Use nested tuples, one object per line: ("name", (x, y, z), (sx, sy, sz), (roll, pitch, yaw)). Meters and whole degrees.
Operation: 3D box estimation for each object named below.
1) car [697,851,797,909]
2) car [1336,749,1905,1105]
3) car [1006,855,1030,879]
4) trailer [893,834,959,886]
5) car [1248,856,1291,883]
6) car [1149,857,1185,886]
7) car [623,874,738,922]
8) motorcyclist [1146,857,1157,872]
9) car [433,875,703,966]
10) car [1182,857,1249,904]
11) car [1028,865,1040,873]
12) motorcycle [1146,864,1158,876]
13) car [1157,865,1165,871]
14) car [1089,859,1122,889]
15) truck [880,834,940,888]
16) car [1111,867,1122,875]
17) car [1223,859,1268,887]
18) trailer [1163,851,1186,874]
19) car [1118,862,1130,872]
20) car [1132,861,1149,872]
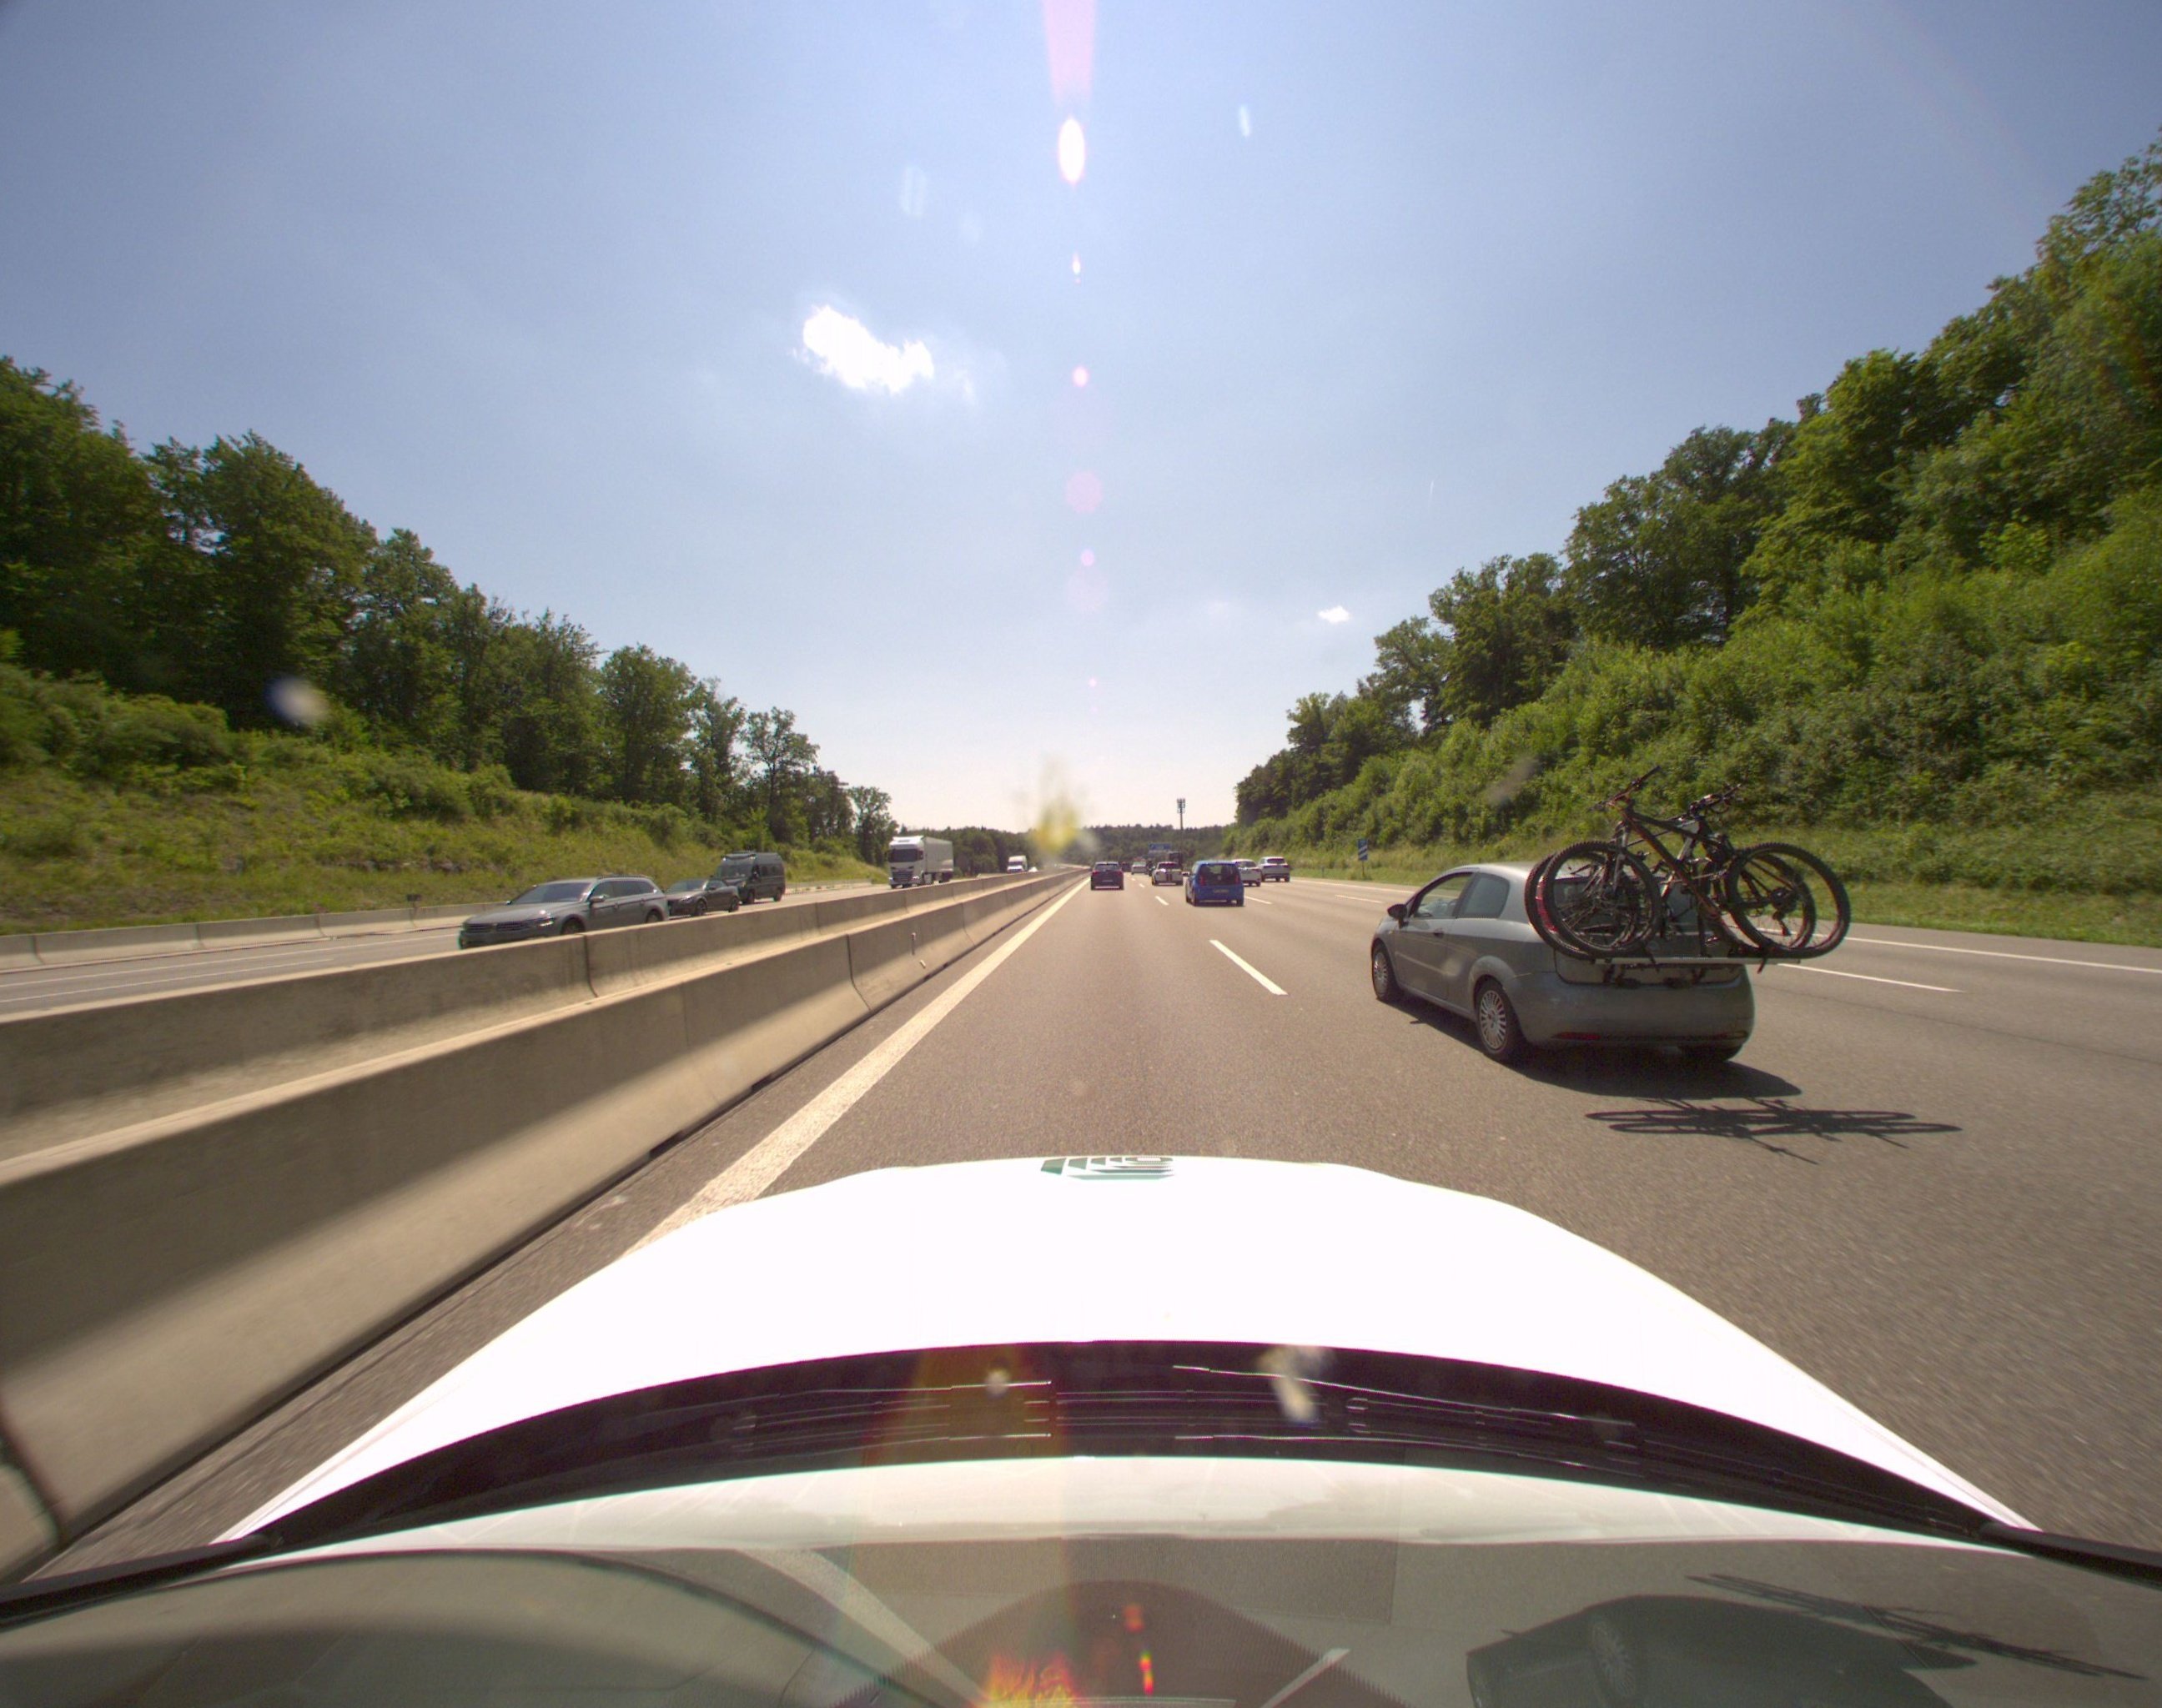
("car", (-17.175, 1.262, 42.374), (2.132, 2.663, 6.782), (-3, -1, 2))
("car", (3.885, 0.439, 7.145), (1.954, 2.053, 4.786), (-1, 0, 2))
("car", (-7.967, 1.673, 103.683), (2.078, 2.800, 7.604), (-4, -1, 1))
("trailer", (-13.594, 0.577, 72.917), (2.915, 4.084, 13.841), (-2, -1, 1))
("car", (12.526, 1.009, 54.322), (1.794, 1.731, 5.241), (0, -1, 2))
("car", (5.075, 1.068, 48.529), (1.834, 1.552, 4.001), (2, -3, 2))
("car", (-13.896, 1.484, 28.559), (1.661, 1.407, 4.441), (-2, 0, 2))
("motorcyclist", (6.851, 1.052, 79.267), (0.958, 1.438, 1.236), (-3, -1, 3))
("car", (-10.346, 1.250, 17.133), (2.019, 1.505, 5.444), (-2, -1, 2))
("car", (4.429, 0.873, 27.354), (1.730, 1.411, 4.002), (-1, -1, 2))
("car", (-9.333, 2.931, 161.954), (1.737, 1.562, 4.425), (-4, -1, 3))
("motorcycle", (6.886, 1.525, 79.379), (0.973, 1.129, 2.272), (-2, 0, 2))
("car", (20.275, 3.552, 206.165), (1.603, 1.212, 3.459), (-2, -2, 0))
("car", (1.294, 1.022, 42.577), (1.618, 1.487, 3.687), (-1, 0, 2))
("truck", (-13.711, 0.570, 65.960), (2.884, 4.069, 7.791), (-2, 0, 1))
("car", (7.913, 3.733, 181.829), (1.989, 1.684, 4.419), (0, -1, -2))
("car", (9.163, 1.030, 45.702), (1.660, 1.433, 4.376), (-2, 0, 1))
("trailer", (16.881, 1.632, 148.214), (2.847, 3.688, 13.544), (-2, -2, 1))
("car", (8.596, 2.571, 162.803), (2.089, 1.851, 4.082), (-2, -1, 1))
("car", (6.894, 1.426, 94.170), (1.776, 1.265, 3.462), (-2, 0, 2))
